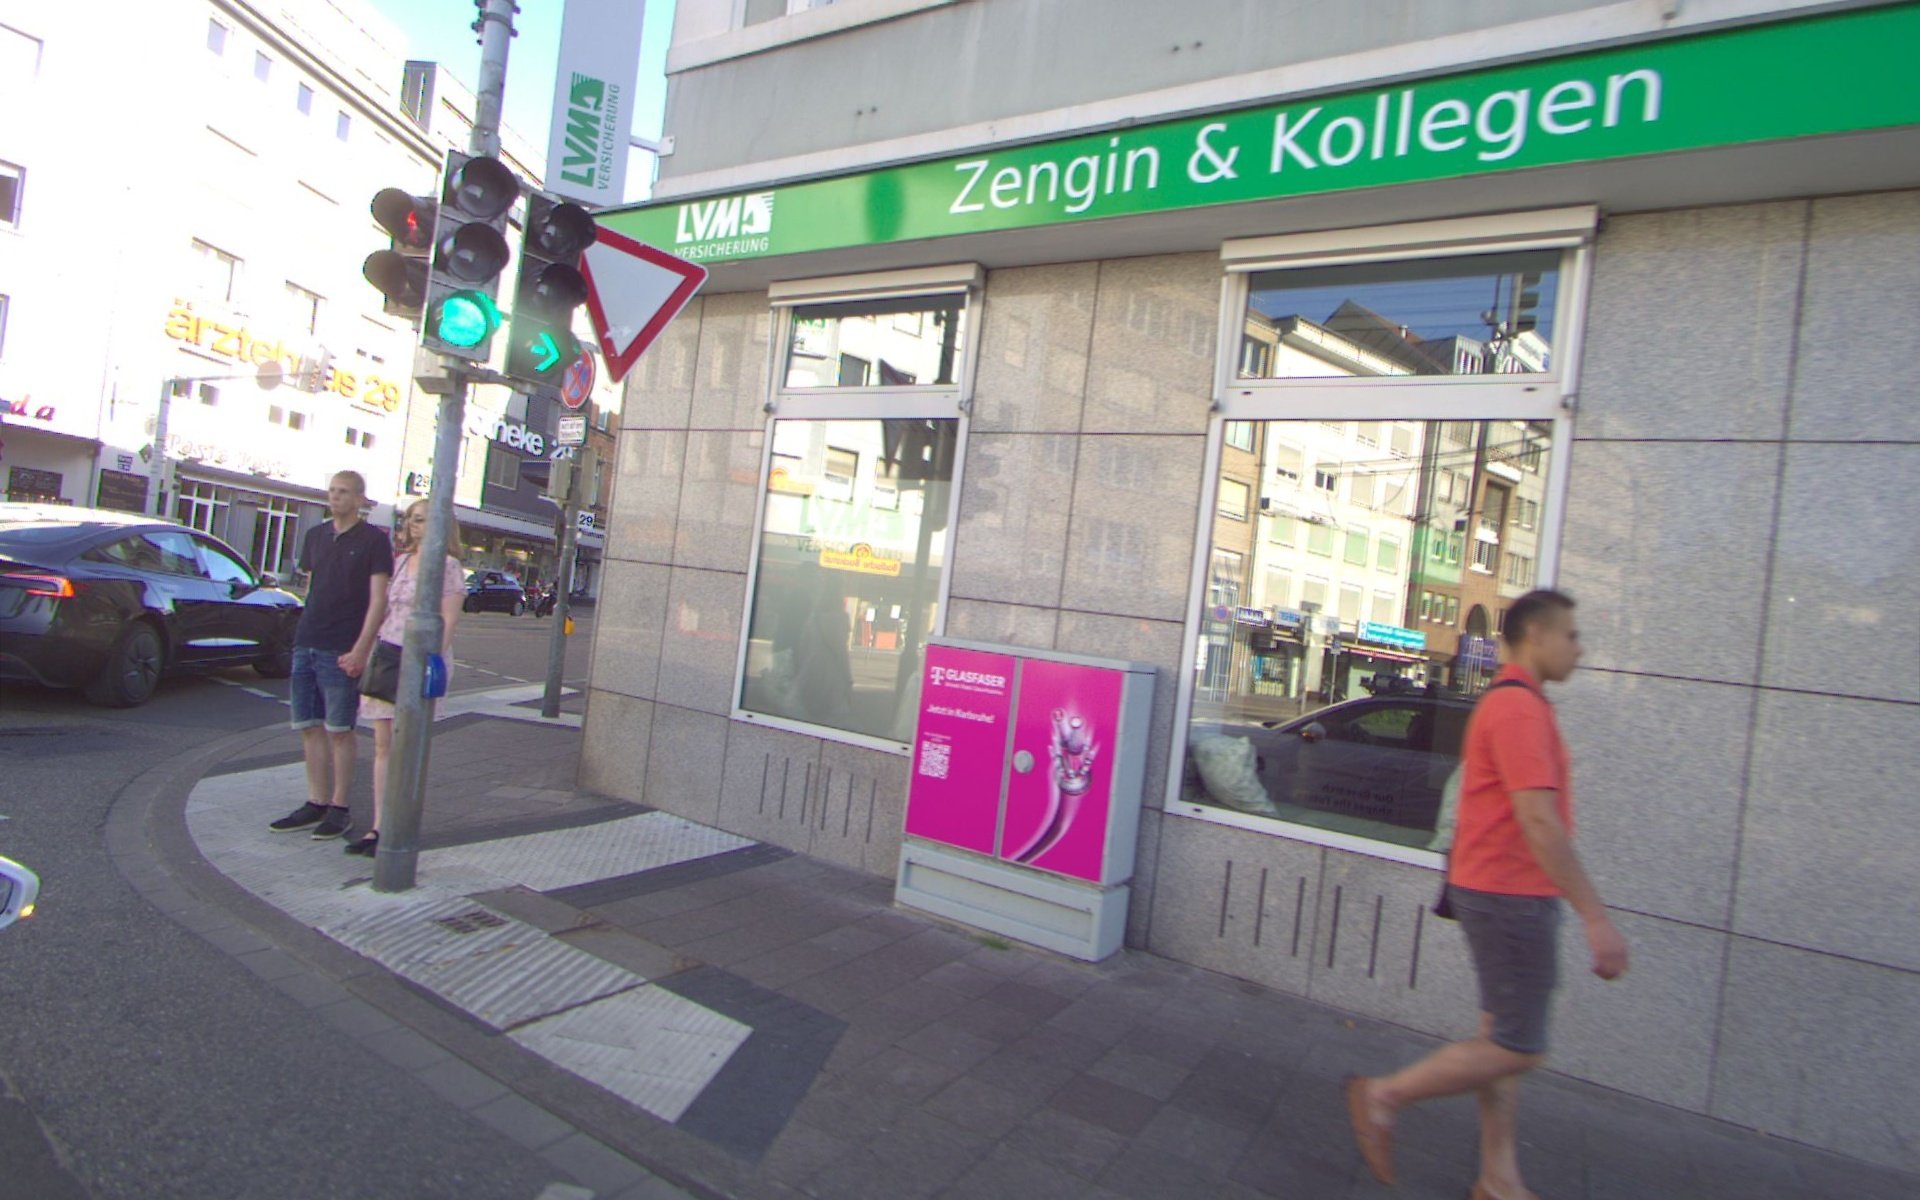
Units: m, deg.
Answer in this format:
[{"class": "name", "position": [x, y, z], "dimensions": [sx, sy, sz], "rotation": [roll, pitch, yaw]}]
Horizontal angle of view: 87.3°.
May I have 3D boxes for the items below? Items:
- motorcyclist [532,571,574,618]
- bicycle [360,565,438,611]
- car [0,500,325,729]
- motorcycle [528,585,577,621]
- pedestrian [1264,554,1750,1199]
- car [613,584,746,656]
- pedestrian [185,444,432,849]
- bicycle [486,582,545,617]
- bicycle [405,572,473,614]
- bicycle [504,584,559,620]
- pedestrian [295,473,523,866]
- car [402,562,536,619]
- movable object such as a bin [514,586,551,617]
[{"class": "motorcyclist", "position": [-14.698, -0.183, 36.330], "dimensions": [0.790, 1.576, 1.147], "rotation": [6, -1, 8]}, {"class": "bicycle", "position": [-18.907, -0.400, 33.911], "dimensions": [2.071, 1.238, 0.774], "rotation": [9, -1, 2]}, {"class": "car", "position": [-7.327, -0.004, 8.600], "dimensions": [1.847, 1.444, 4.352], "rotation": [8, -1, -15]}, {"class": "motorcycle", "position": [-14.720, 0.132, 36.379], "dimensions": [0.561, 1.133, 2.119], "rotation": [6, -2, 8]}, {"class": "pedestrian", "position": [1.491, 0.800, 2.813], "dimensions": [0.897, 1.724, 0.690], "rotation": [7, 0, 33]}, {"class": "car", "position": [-6.832, 0.557, 25.049], "dimensions": [1.734, 1.434, 4.359], "rotation": [7, -2, 3]}, {"class": "pedestrian", "position": [-3.279, 0.215, 5.081], "dimensions": [0.670, 1.864, 0.641], "rotation": [7, 0, 31]}, {"class": "bicycle", "position": [-17.772, -0.025, 40.264], "dimensions": [1.904, 1.124, 0.774], "rotation": [7, -1, 2]}, {"class": "bicycle", "position": [-18.625, -0.242, 35.975], "dimensions": [1.905, 1.186, 0.774], "rotation": [9, -1, 2]}, {"class": "bicycle", "position": [-17.476, 0.090, 41.045], "dimensions": [1.904, 1.204, 0.552], "rotation": [8, -1, 3]}, {"class": "pedestrian", "position": [-2.722, 0.319, 4.986], "dimensions": [0.638, 1.780, 0.573], "rotation": [7, 0, 31]}, {"class": "car", "position": [-15.345, -0.240, 31.689], "dimensions": [1.686, 1.463, 4.142], "rotation": [5, -2, 8]}, {"class": "movable object such as a bin", "position": [-17.678, 0.077, 41.611], "dimensions": [1.082, 1.084, 0.735], "rotation": [8, -1, 8]}]
